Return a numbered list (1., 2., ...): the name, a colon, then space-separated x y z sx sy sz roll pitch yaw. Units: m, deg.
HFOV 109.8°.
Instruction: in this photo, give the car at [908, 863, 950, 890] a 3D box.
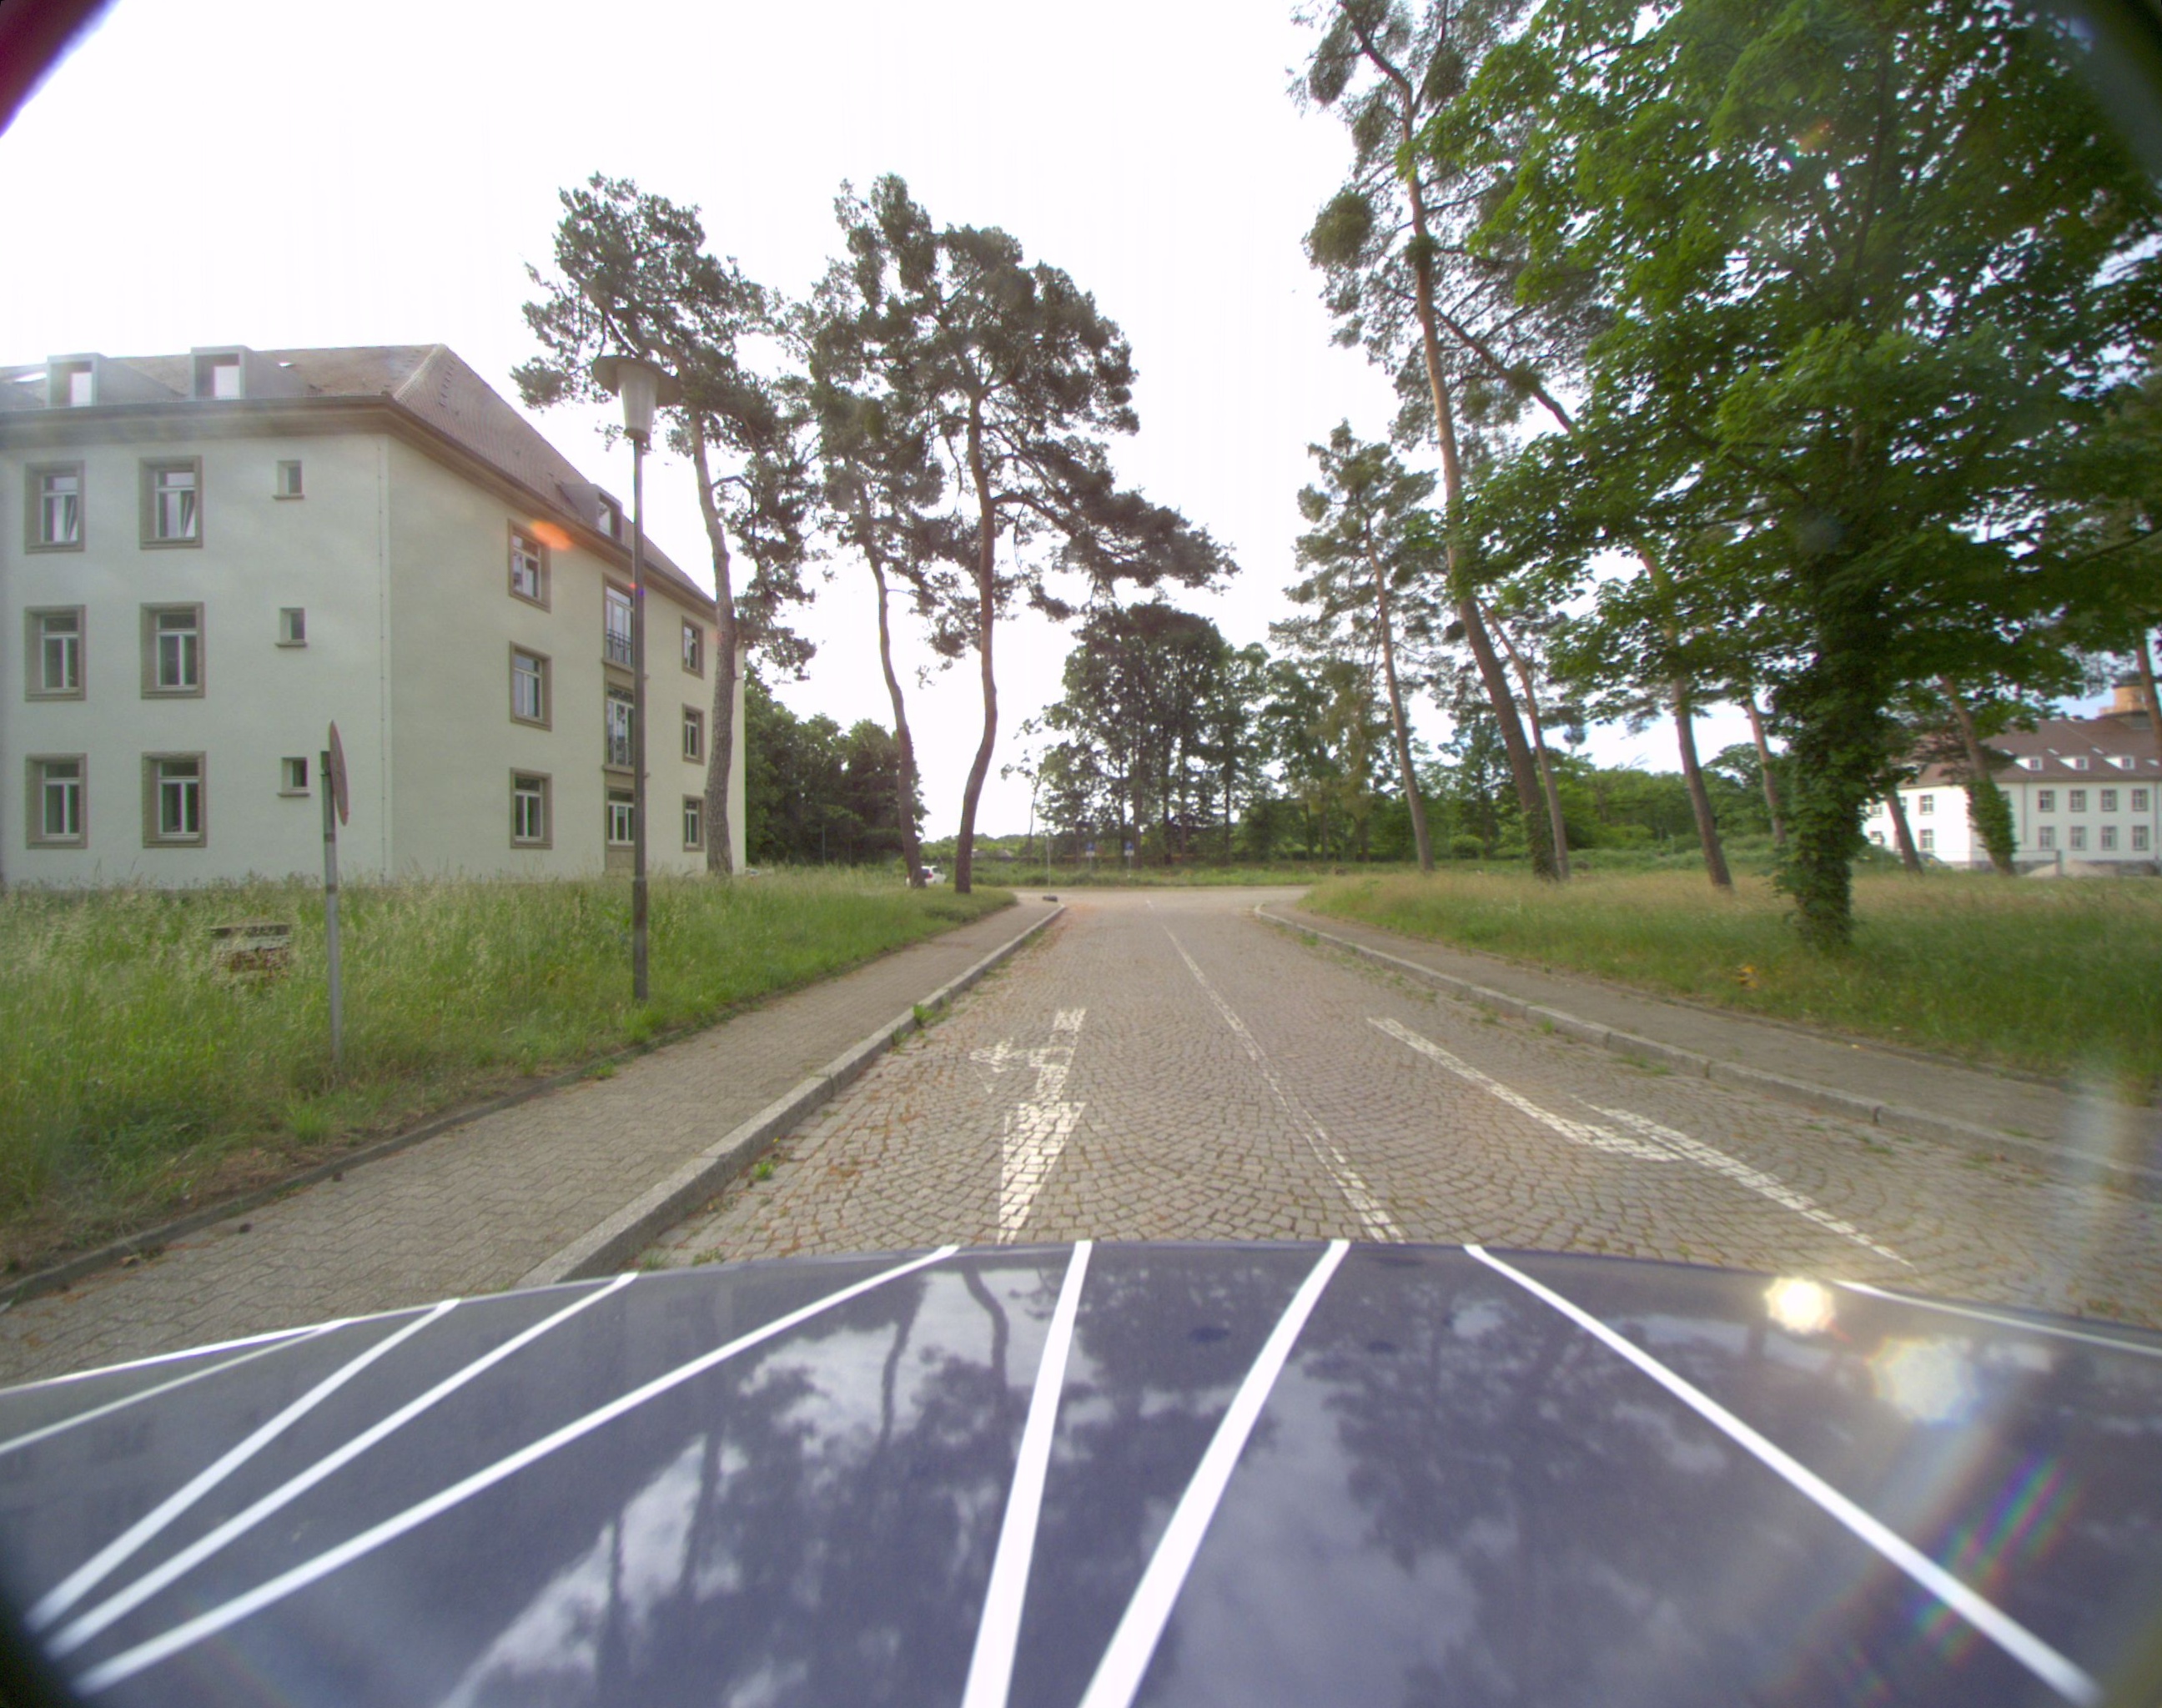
1. car: -9.031 1.333 45.432 1.640 1.426 3.278 -1 2 3
